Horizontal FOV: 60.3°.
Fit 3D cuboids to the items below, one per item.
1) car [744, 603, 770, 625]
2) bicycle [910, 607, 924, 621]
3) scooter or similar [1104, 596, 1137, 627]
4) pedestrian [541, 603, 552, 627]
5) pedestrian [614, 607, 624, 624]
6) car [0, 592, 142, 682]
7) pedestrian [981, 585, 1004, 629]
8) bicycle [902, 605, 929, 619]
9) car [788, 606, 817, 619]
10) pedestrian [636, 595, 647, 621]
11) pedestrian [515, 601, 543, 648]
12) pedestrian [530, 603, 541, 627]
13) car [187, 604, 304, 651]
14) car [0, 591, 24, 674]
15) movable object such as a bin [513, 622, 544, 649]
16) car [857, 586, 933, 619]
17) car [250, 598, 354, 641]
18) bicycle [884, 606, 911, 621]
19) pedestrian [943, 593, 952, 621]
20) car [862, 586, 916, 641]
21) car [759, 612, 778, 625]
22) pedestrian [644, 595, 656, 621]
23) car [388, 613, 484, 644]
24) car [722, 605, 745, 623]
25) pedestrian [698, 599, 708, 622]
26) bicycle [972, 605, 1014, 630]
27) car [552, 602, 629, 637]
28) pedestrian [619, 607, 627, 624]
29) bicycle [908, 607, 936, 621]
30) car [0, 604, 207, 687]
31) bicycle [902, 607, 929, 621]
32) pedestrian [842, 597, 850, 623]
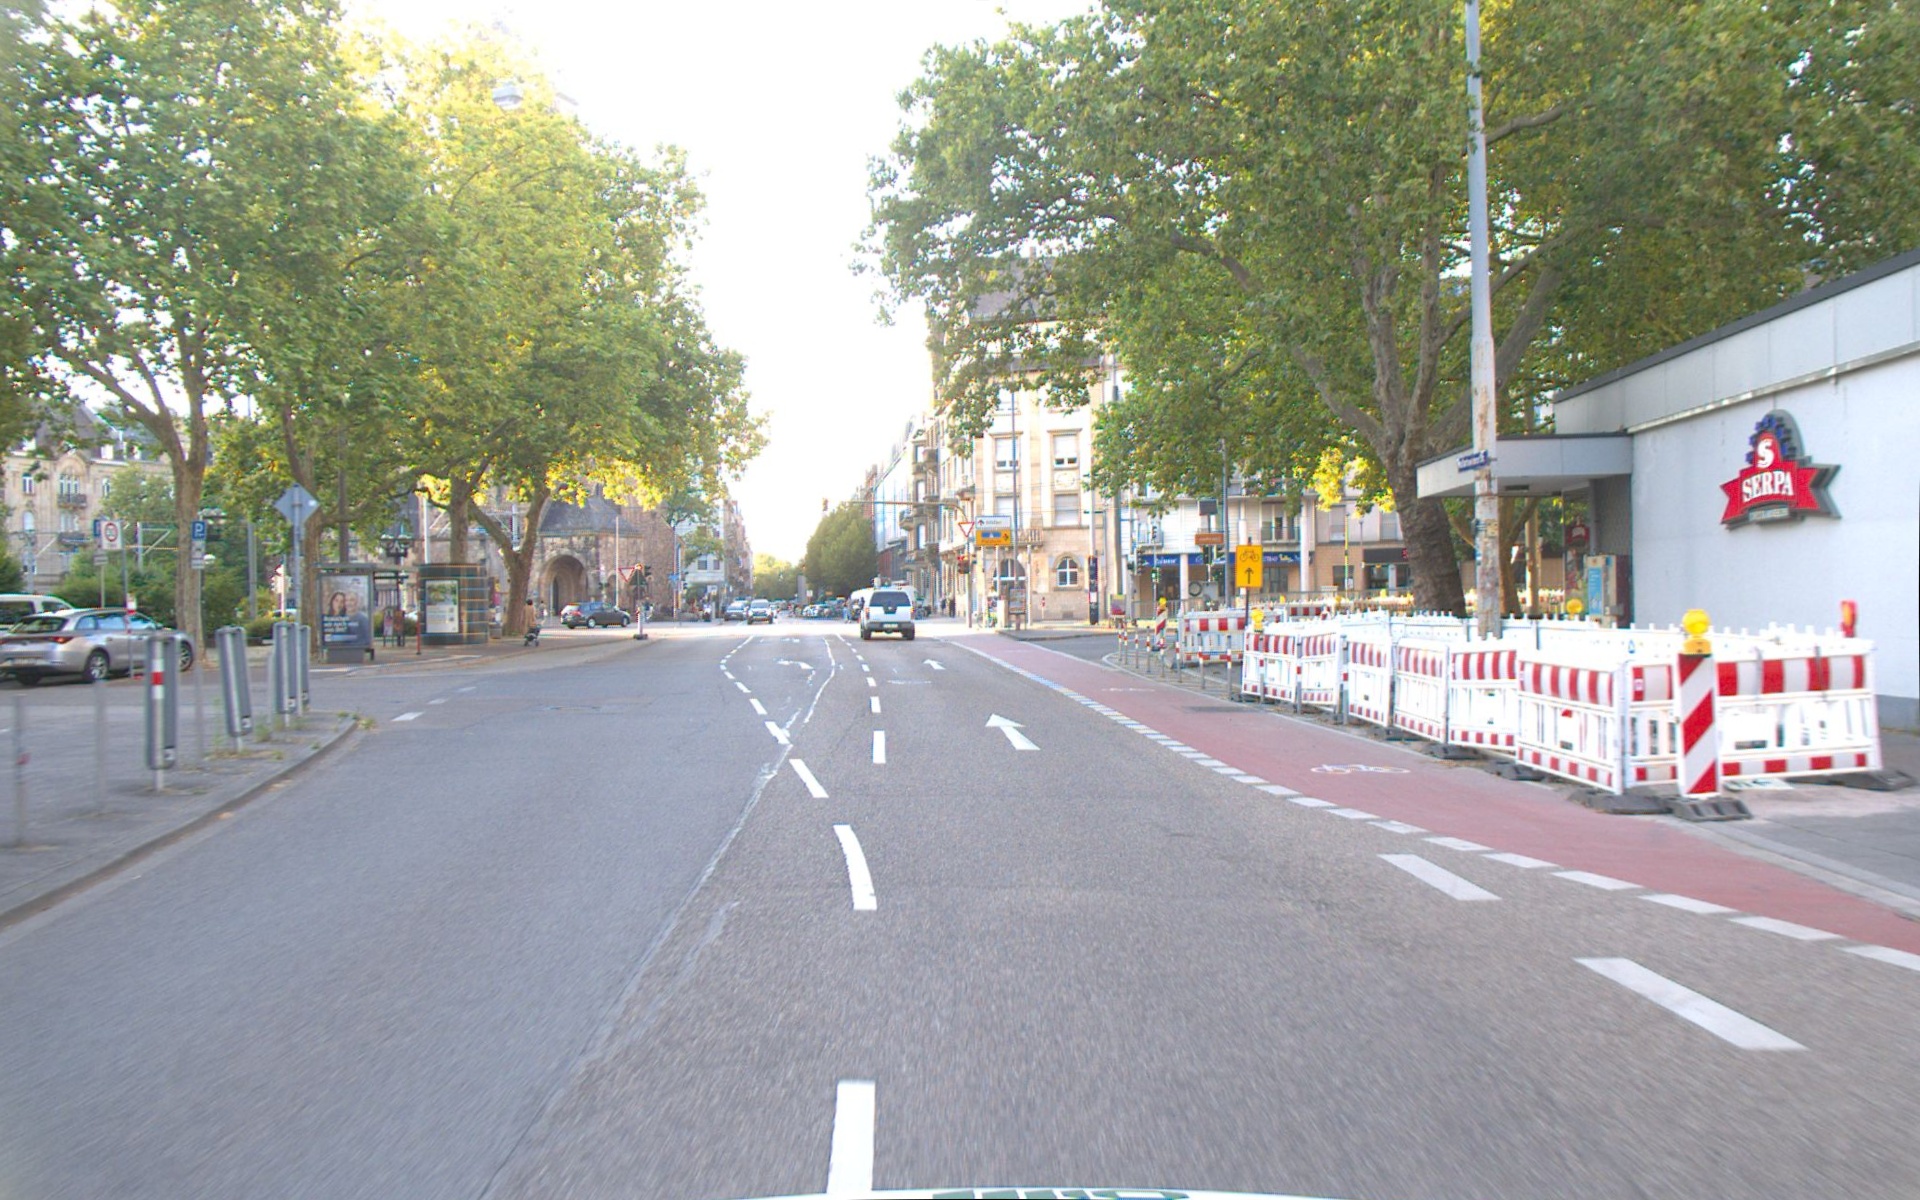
[{"bbox_3d":[-15.477,1.067,126.219,1.749,1.680,3.812,1,0,-10],"label":"car"},{"bbox_3d":[-3.057,0.978,118.193,0.532,0.985,1.923,-1,0,11],"label":"bicycle"},{"bbox_3d":[6.693,0.466,68.944,0.541,1.272,1.369,-1,0,-42],"label":"scooter or similar"},{"bbox_3d":[-27.530,0.990,110.047,0.544,1.612,0.548,-1,0,5],"label":"pedestrian"},{"bbox_3d":[-26.074,1.178,126.373,0.560,1.343,0.487,-1,0,9],"label":"pedestrian"},{"bbox_3d":[-20.571,0.797,36.516,1.780,1.831,4.634,-1,1,17],"label":"car"},{"bbox_3d":[1.365,0.292,69.583,0.783,1.799,0.717,-1,0,-20],"label":"pedestrian"},{"bbox_3d":[-3.134,0.848,115.762,1.877,0.985,0.545,-1,0,-4],"label":"bicycle"},{"bbox_3d":[-21.764,1.722,228.699,3.913,1.847,1.996,-1,0,-9],"label":"car"},{"bbox_3d":[-23.941,0.604,124.370,0.582,1.919,0.553,-1,0,27],"label":"pedestrian"},{"bbox_3d":[-15.591,0.887,59.825,0.722,1.657,0.686,-1,0,9],"label":"pedestrian"},{"bbox_3d":[-28.248,0.981,110.040,0.544,1.612,0.548,-1,0,5],"label":"pedestrian"},{"bbox_3d":[-30.751,1.161,71.362,2.035,1.873,4.633,-1,1,19],"label":"car"},{"bbox_3d":[-23.217,0.780,36.166,2.034,1.873,4.634,-1,1,17],"label":"car"},{"bbox_3d":[-15.359,1.254,58.915,0.722,0.906,0.983,-1,0,9],"label":"movable object such as a bin"},{"bbox_3d":[-4.789,0.159,122.212,2.038,2.328,5.782,-1,0,44],"label":"car"},{"bbox_3d":[-31.244,0.905,78.692,2.035,1.873,4.633,-1,1,19],"label":"car"},{"bbox_3d":[-4.396,0.956,116.404,1.881,0.985,0.544,-1,0,-12],"label":"bicycle"},{"bbox_3d":[-0.835,0.461,112.930,0.581,1.919,0.647,-1,0,0],"label":"pedestrian"},{"bbox_3d":[-2.590,0.466,59.741,1.829,1.846,3.997,-2,0,-4],"label":"car"},{"bbox_3d":[-22.162,2.147,191.575,1.957,1.533,3.812,1,0,-10],"label":"car"},{"bbox_3d":[-23.286,0.584,124.149,0.641,1.919,0.585,-1,0,27],"label":"pedestrian"},{"bbox_3d":[-28.264,1.532,89.306,4.532,1.557,2.001,-1,0,3],"label":"car"},{"bbox_3d":[-21.336,1.285,155.561,1.957,1.680,3.812,1,0,-10],"label":"car"},{"bbox_3d":[-21.444,0.878,138.120,0.581,1.919,0.553,-1,0,24],"label":"pedestrian"},{"bbox_3d":[1.380,0.721,69.082,1.660,0.985,0.544,-1,0,-9],"label":"bicycle"},{"bbox_3d":[-21.149,1.097,94.807,2.035,1.873,4.631,-1,1,22],"label":"car"},{"bbox_3d":[-25.702,1.162,126.116,0.491,1.303,0.488,-1,0,-26],"label":"pedestrian"},{"bbox_3d":[-2.690,0.977,116.850,1.874,0.985,0.546,-1,0,12],"label":"bicycle"},{"bbox_3d":[-18.060,0.908,34.658,1.780,1.507,4.635,-1,1,11],"label":"car"},{"bbox_3d":[-3.118,0.966,116.042,1.877,0.985,0.545,-1,0,-4],"label":"bicycle"},{"bbox_3d":[-8.667,0.768,125.969,0.581,1.919,0.647,-1,0,0],"label":"pedestrian"}]
